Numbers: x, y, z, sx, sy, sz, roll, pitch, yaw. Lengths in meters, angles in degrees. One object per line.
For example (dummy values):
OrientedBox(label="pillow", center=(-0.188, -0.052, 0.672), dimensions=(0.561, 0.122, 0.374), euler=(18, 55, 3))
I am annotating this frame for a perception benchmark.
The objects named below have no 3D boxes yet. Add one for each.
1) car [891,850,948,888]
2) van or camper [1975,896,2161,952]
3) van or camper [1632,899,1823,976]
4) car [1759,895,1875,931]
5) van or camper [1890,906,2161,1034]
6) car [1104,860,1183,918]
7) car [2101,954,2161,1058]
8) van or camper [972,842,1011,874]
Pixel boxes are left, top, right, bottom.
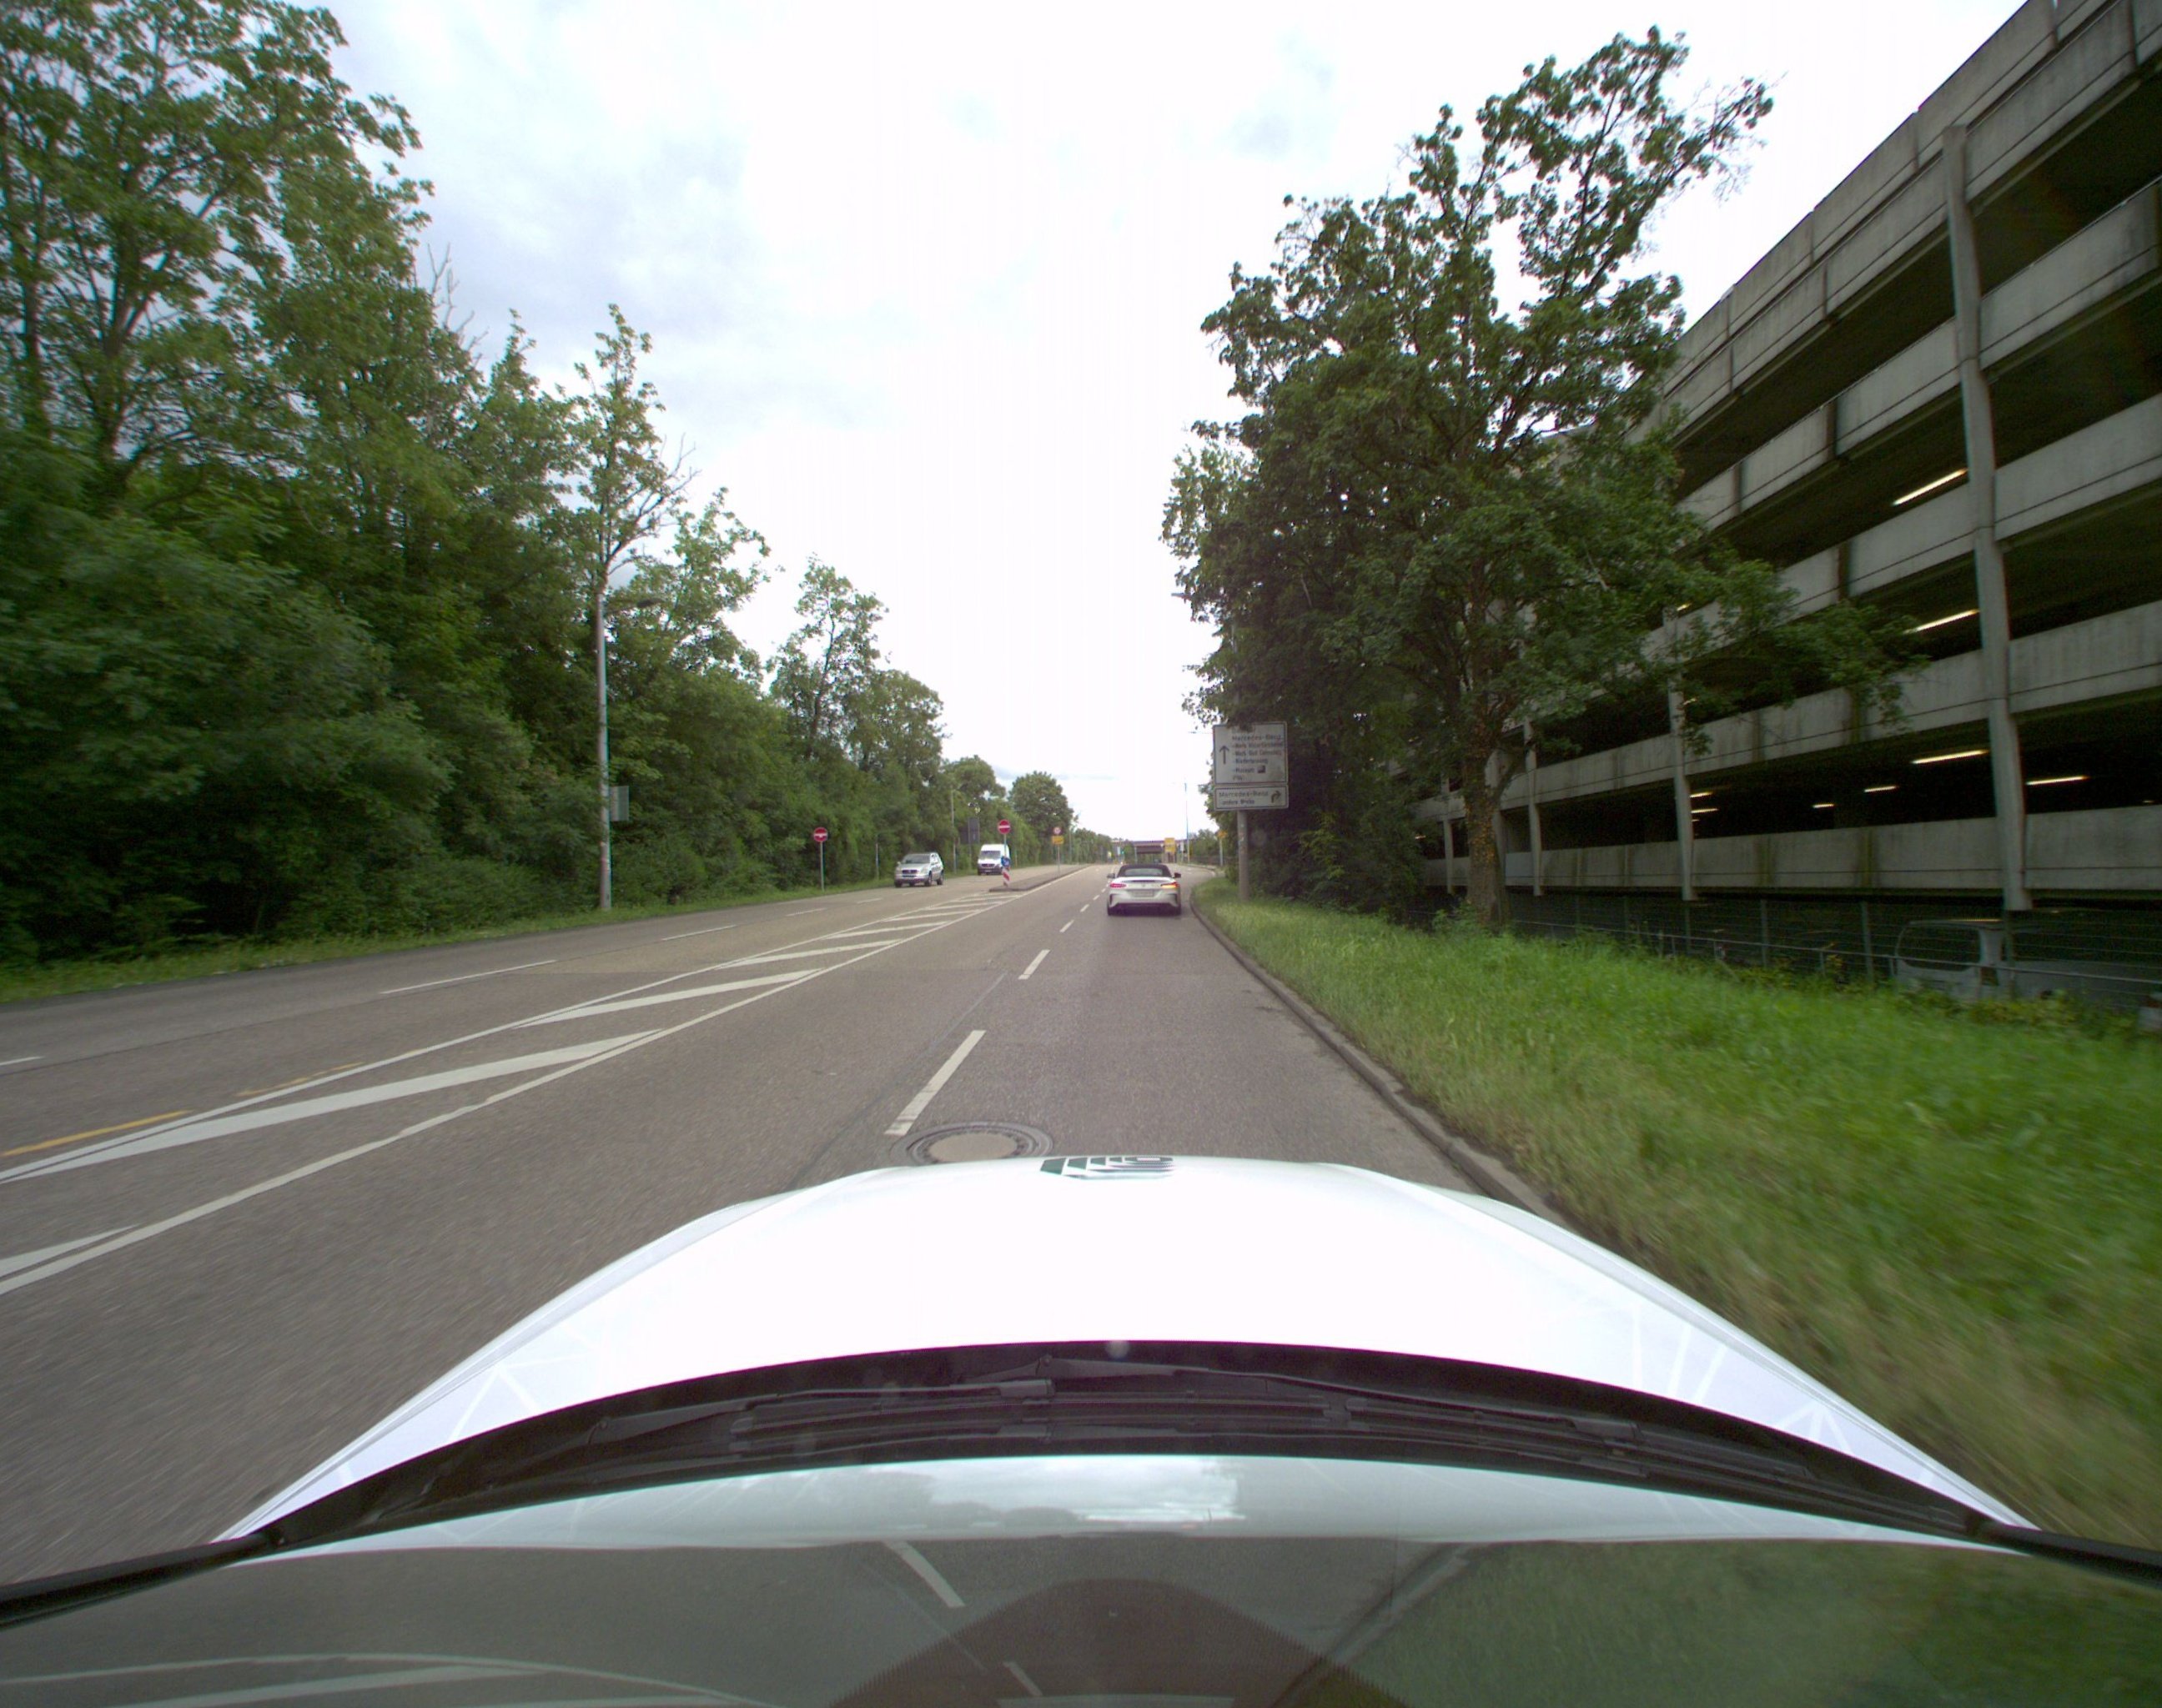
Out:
OrientedBox(label="car", center=(-8.470, 0.748, 43.059), dimensions=(1.805, 1.830, 4.388), euler=(-2, 0, 4))
OrientedBox(label="van or camper", center=(29.374, 2.040, 24.137), dimensions=(3.698, 1.409, 1.728), euler=(-3, -2, 2))
OrientedBox(label="van or camper", center=(18.746, 2.395, 23.760), dimensions=(3.989, 1.954, 1.841), euler=(-3, -2, 2))
OrientedBox(label="car", center=(30.325, 2.424, 33.618), dimensions=(3.187, 1.307, 1.570), euler=(-3, -2, 5))
OrientedBox(label="van or camper", center=(17.860, 2.063, 15.009), dimensions=(3.992, 1.954, 1.839), euler=(-3, -2, 0))
OrientedBox(label="car", center=(1.589, 0.860, 21.724), dimensions=(1.867, 1.309, 3.875), euler=(-3, 0, 2))
OrientedBox(label="car", center=(17.837, 2.189, 11.653), dimensions=(3.992, 1.436, 1.949), euler=(-2, -2, 0))
OrientedBox(label="van or camper", center=(-7.548, 0.358, 69.184), dimensions=(2.274, 2.555, 6.862), euler=(1, -1, 2))
